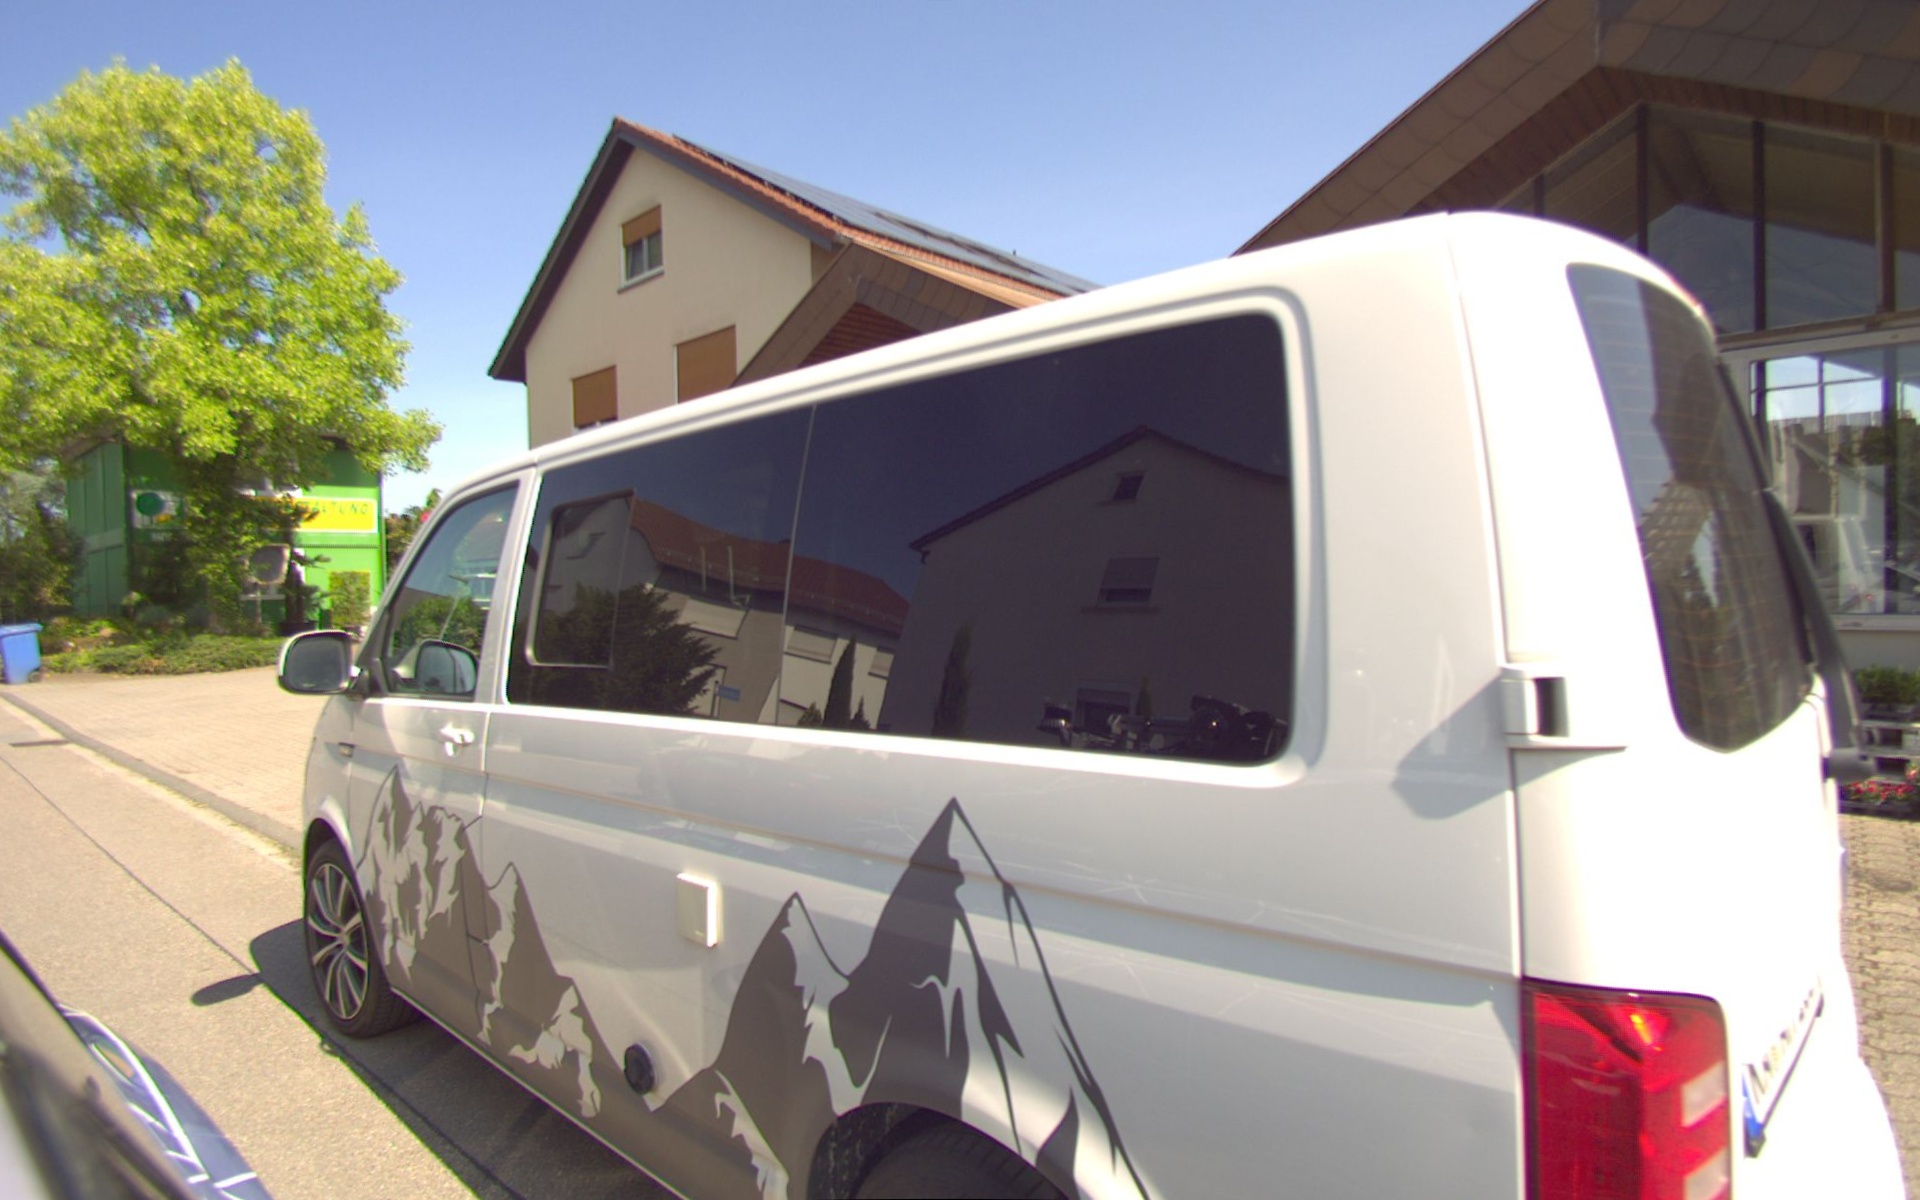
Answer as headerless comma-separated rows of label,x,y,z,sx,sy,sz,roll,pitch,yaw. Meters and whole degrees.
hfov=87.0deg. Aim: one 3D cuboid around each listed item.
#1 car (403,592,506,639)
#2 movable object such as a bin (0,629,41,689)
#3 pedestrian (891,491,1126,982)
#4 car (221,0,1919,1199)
car,-17.729,0.495,35.451,3.999,1.458,1.837,0,4,42
movable object such as a bin,-17.878,1.100,19.070,0.612,1.062,0.723,-1,2,42
pedestrian,0.170,0.477,4.018,0.680,1.744,0.644,-2,1,-18
car,-0.412,0.398,2.944,4.896,2.029,1.908,-1,1,43
